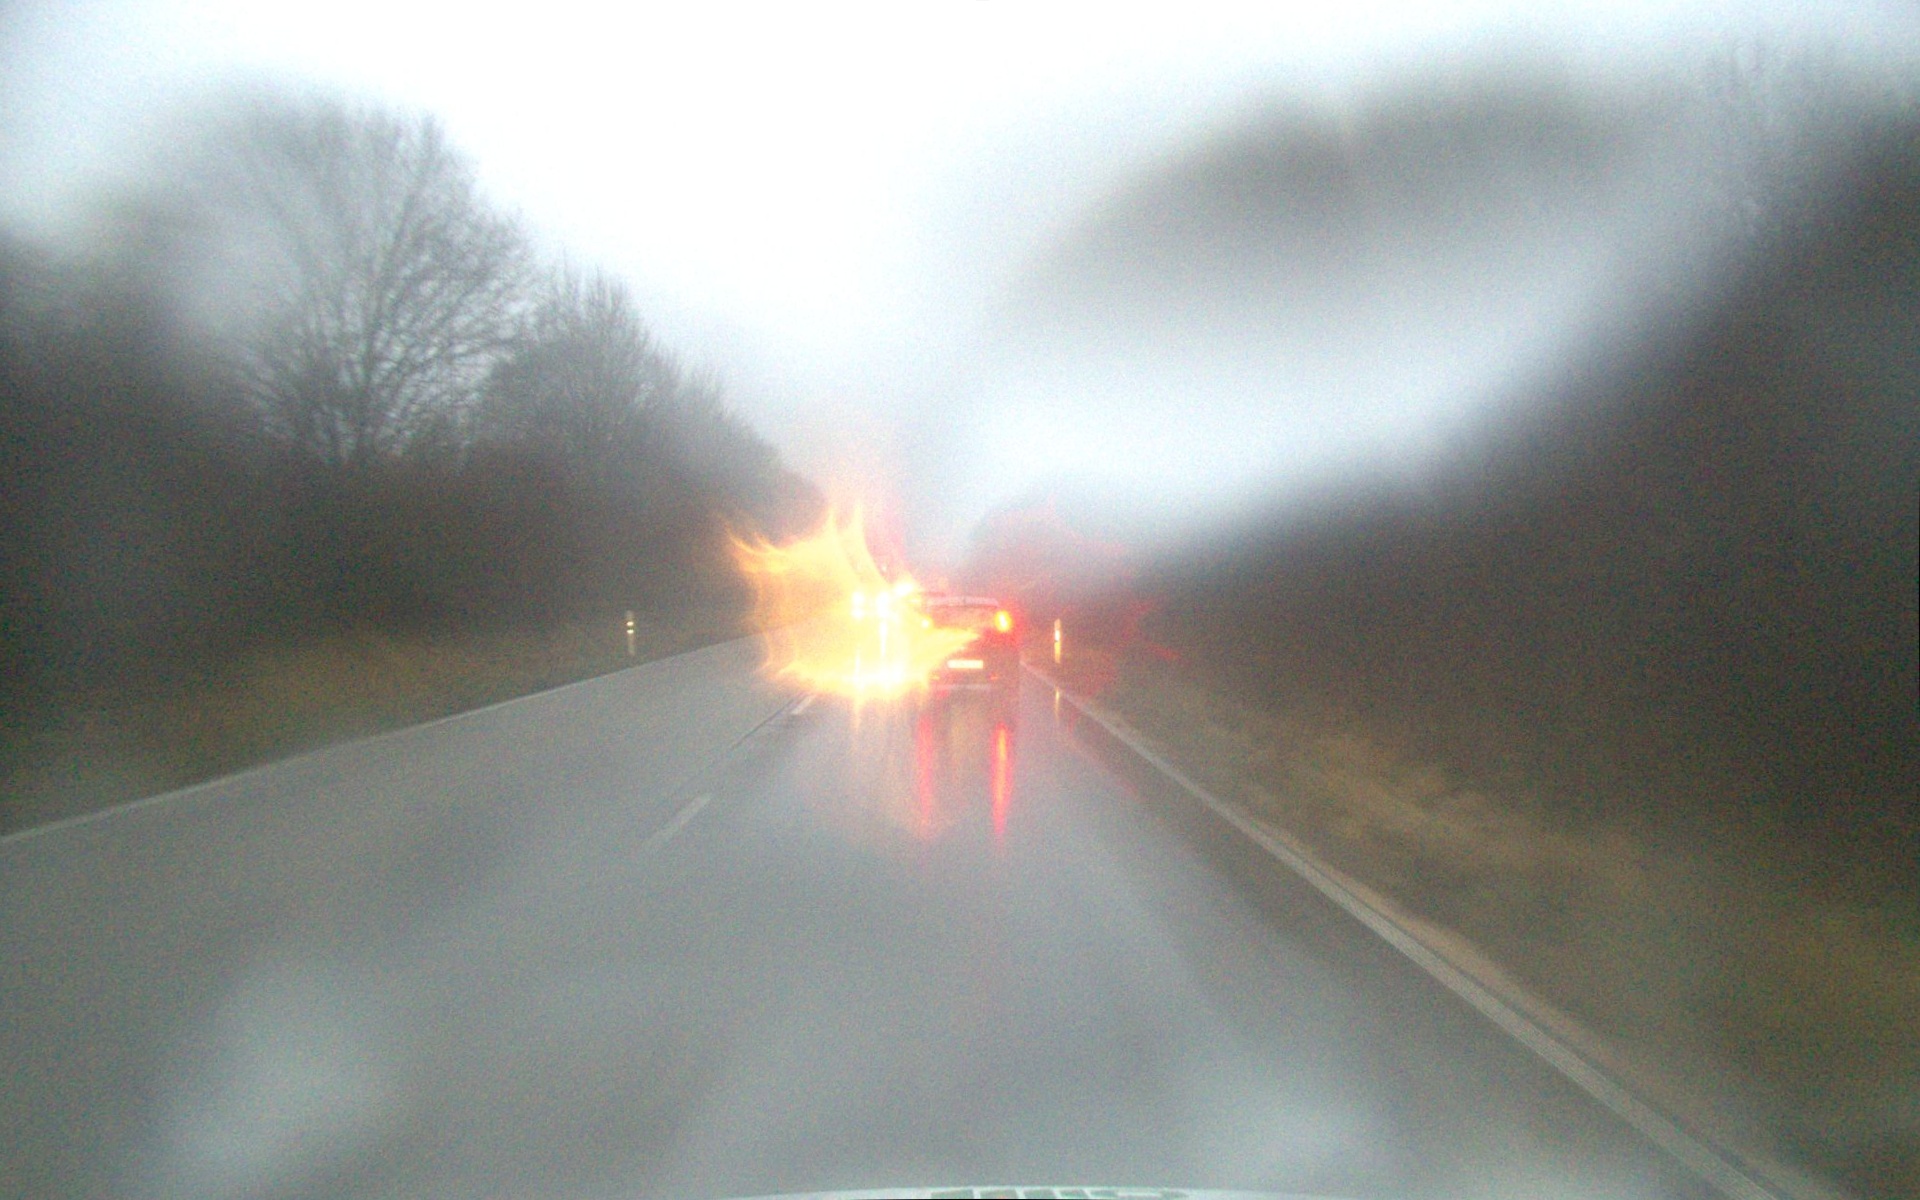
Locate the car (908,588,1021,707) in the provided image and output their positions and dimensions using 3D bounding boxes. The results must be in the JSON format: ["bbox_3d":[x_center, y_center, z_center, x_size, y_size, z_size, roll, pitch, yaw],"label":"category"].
[{"bbox_3d":[0.039,0.677,25.632,1.614,1.701,3.513,1,0,-1],"label":"car"}]

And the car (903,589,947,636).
[{"bbox_3d":[-1.402,0.477,65.986,1.698,1.810,3.999,1,0,-2],"label":"car"}]
